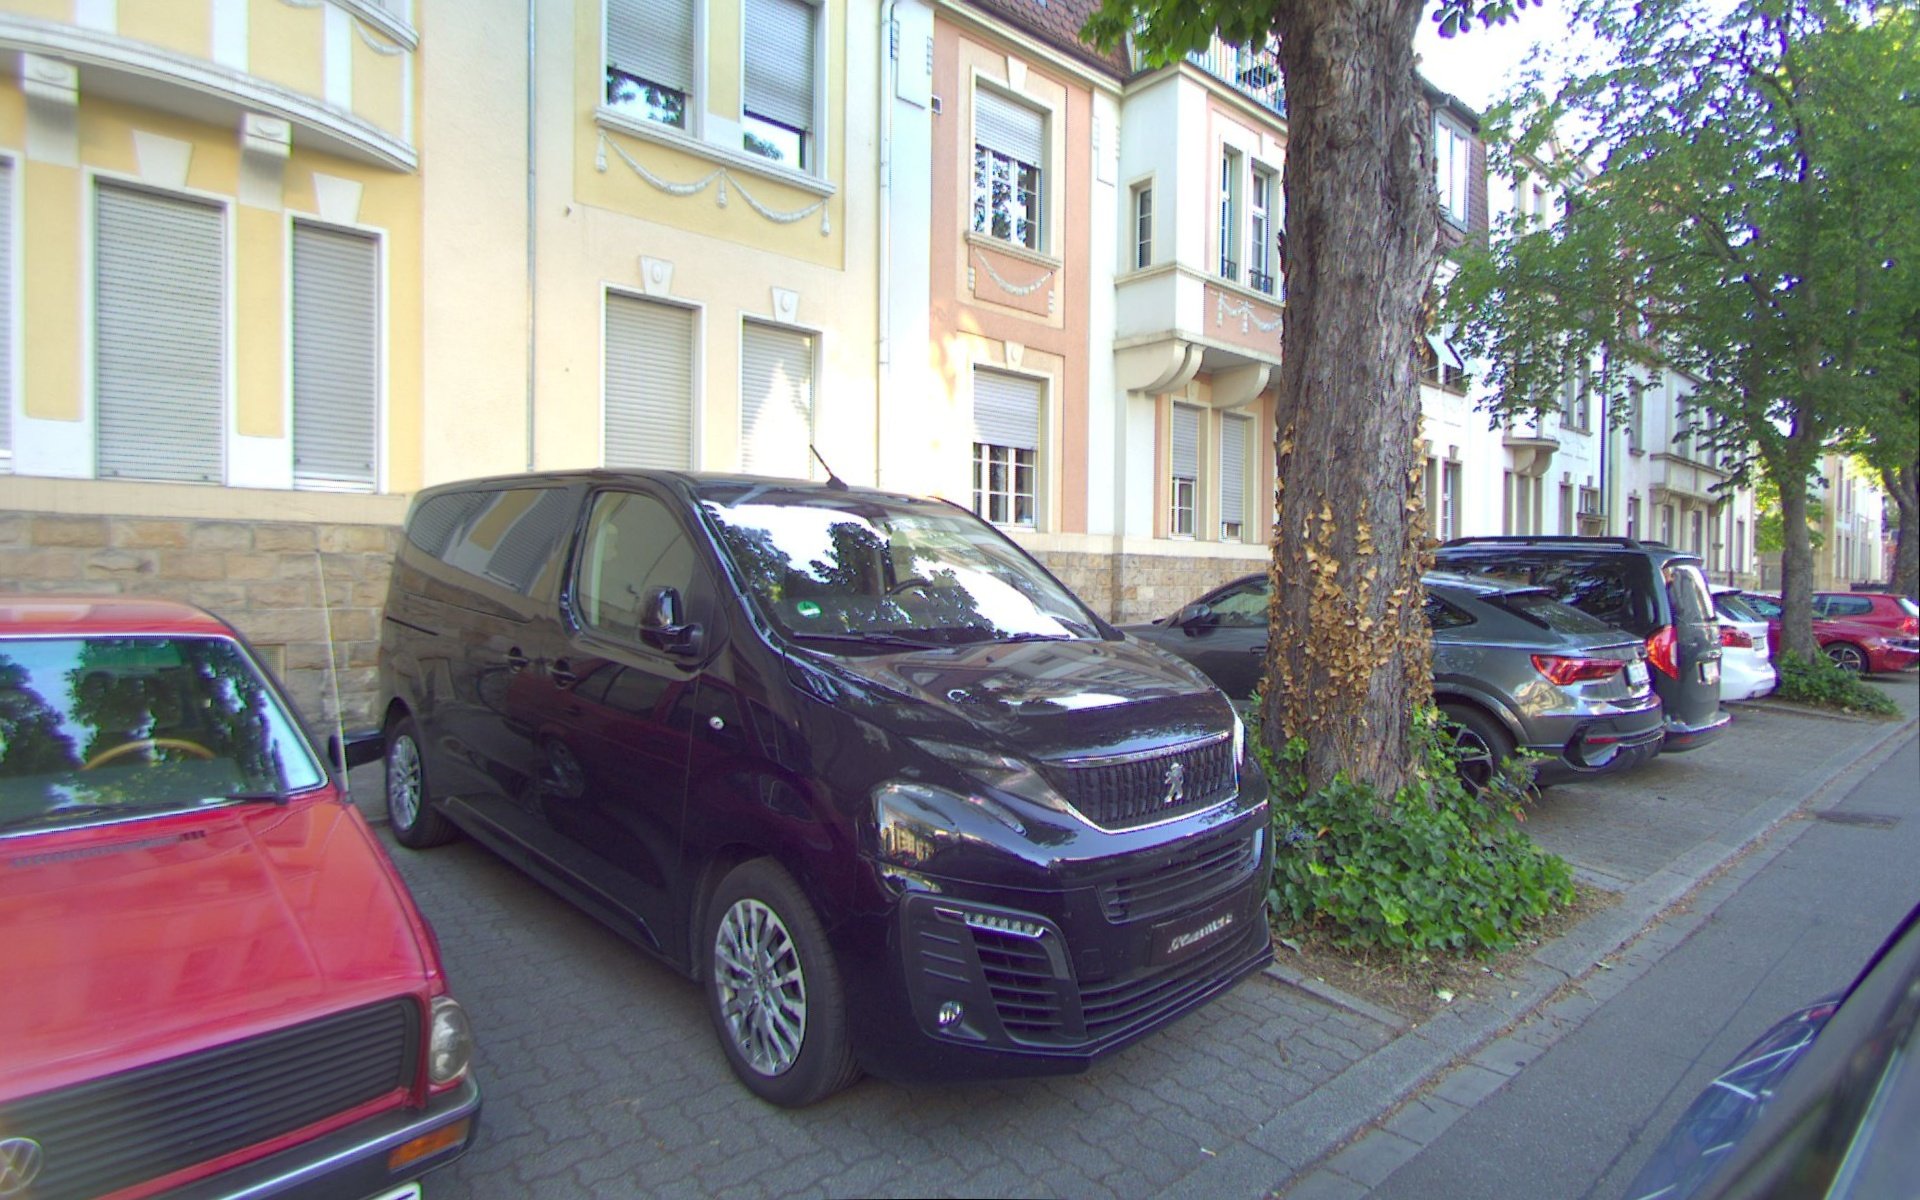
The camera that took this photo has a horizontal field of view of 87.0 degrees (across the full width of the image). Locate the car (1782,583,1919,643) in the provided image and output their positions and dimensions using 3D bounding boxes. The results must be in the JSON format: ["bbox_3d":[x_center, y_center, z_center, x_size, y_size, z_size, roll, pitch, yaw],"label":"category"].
[{"bbox_3d":[24.004,0.324,26.412,1.548,1.416,3.681,0,3,-39],"label":"car"}]

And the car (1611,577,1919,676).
[{"bbox_3d":[14.785,0.385,18.463,1.833,1.470,4.533,0,3,-38],"label":"car"}]

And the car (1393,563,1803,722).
[{"bbox_3d":[7.702,0.378,12.525,1.689,1.597,3.948,0,3,-41],"label":"car"}]

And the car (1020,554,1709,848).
[{"bbox_3d":[2.744,0.461,7.702,1.815,1.542,4.513,-1,3,-44],"label":"car"}]

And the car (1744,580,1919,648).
[{"bbox_3d":[21.852,0.301,24.974,1.548,1.484,3.681,0,3,-39],"label":"car"}]

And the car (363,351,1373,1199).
[{"bbox_3d":[-0.939,0.325,4.475,1.867,1.897,4.753,-1,3,-44],"label":"car"}]

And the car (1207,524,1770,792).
[{"bbox_3d":[4.518,0.309,9.145,1.814,1.860,4.116,0,3,-42],"label":"car"}]

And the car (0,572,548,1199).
[{"bbox_3d":[-2.874,0.628,3.034,1.603,1.332,4.140,-1,3,-44],"label":"car"}]

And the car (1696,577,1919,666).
[{"bbox_3d":[16.895,0.356,19.819,1.628,1.499,3.682,0,3,-38],"label":"car"}]

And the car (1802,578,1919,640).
[{"bbox_3d":[25.870,0.237,28.033,1.548,1.576,3.681,0,3,-39],"label":"car"}]

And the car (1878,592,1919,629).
[{"bbox_3d":[31.895,0.386,32.468,1.515,1.164,3.399,0,3,-39],"label":"car"}]

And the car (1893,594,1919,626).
[{"bbox_3d":[34.275,0.385,34.531,1.515,1.076,3.400,0,3,-39],"label":"car"}]
